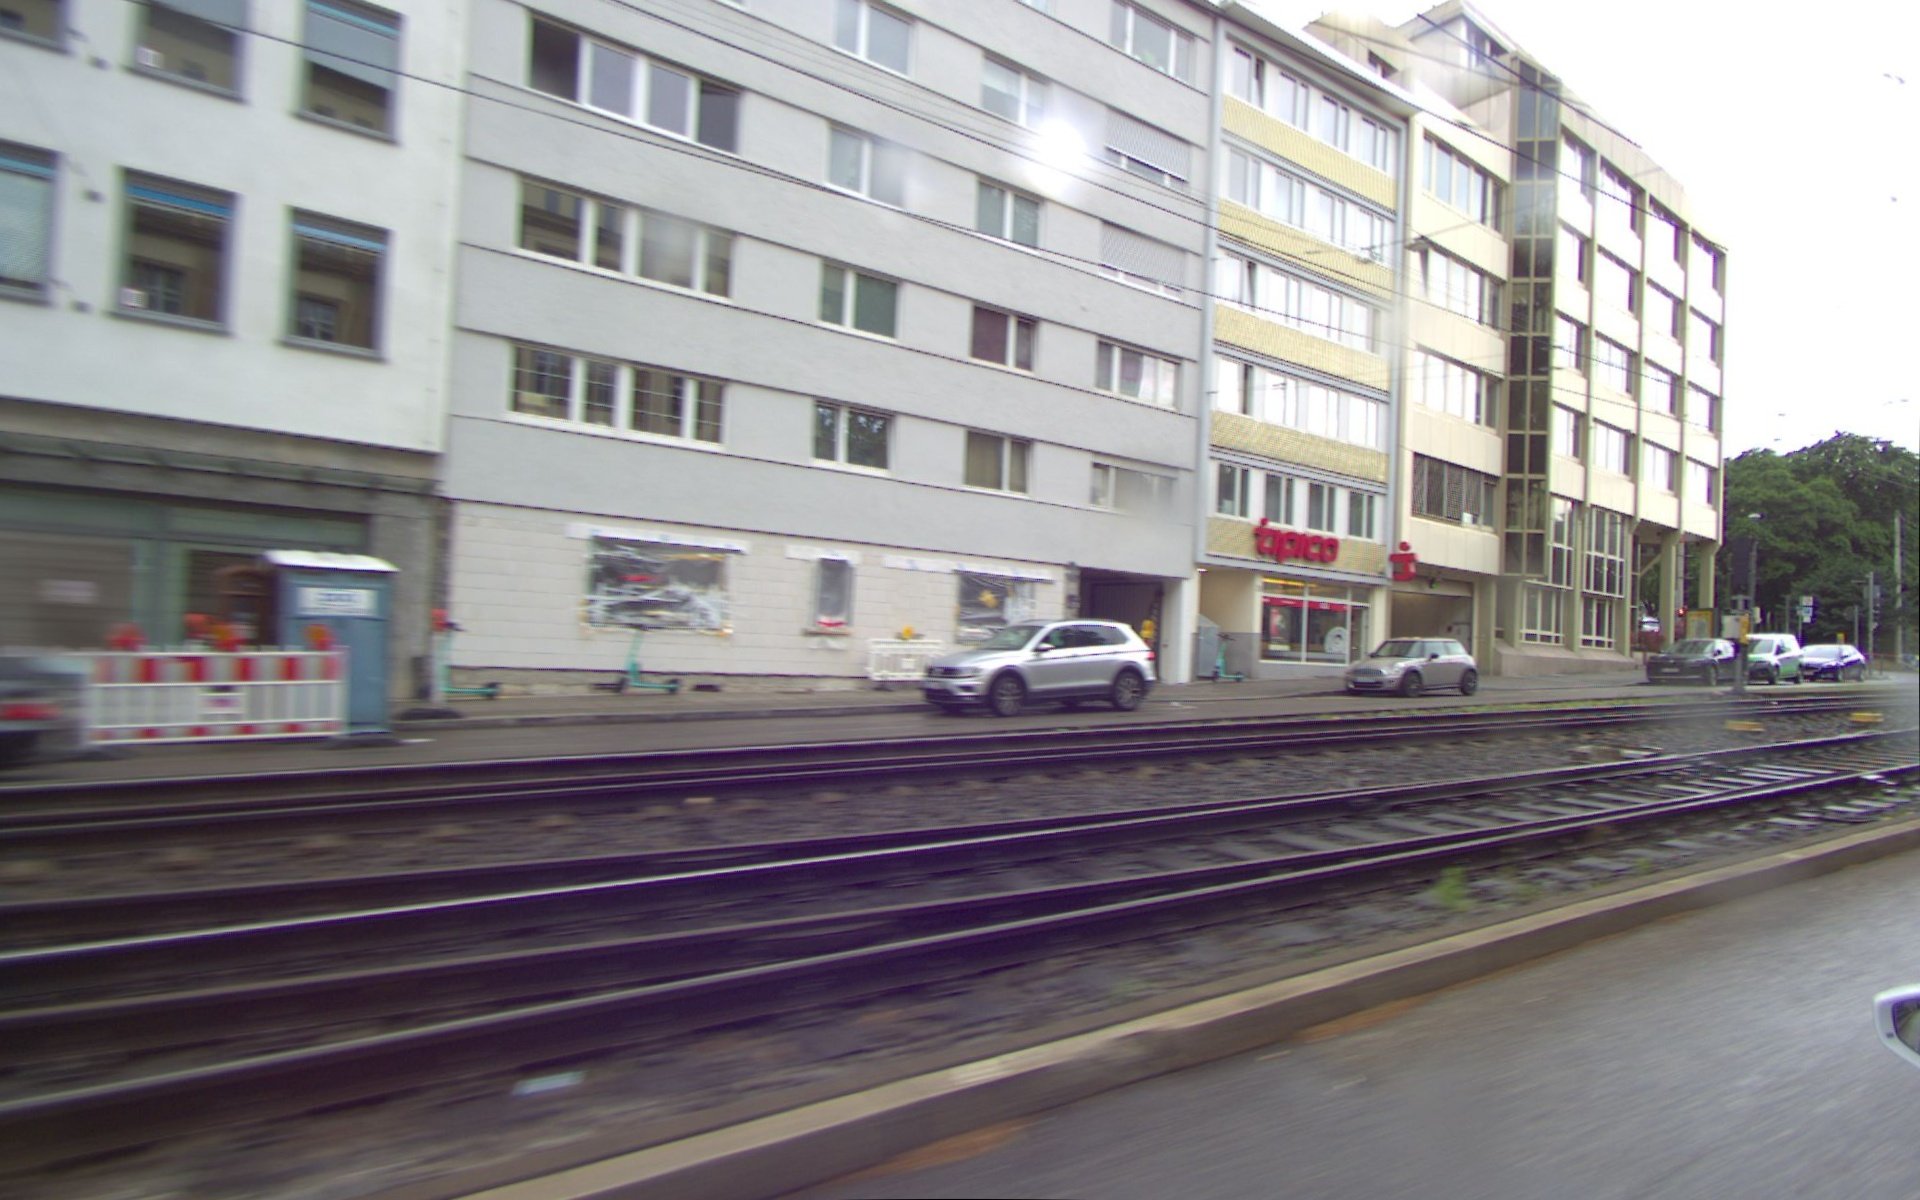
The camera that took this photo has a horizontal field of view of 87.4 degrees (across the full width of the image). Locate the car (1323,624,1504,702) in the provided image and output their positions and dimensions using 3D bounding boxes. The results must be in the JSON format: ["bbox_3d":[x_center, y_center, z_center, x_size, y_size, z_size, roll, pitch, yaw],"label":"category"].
[{"bbox_3d":[11.261,1.565,24.831,4.650,1.696,1.980,4,-1,-36],"label":"car"}]

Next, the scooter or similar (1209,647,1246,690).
[{"bbox_3d":[6.839,1.743,25.696,0.964,1.046,0.378,-1,2,-34],"label":"scooter or similar"}]

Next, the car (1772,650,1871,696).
[{"bbox_3d":[34.579,2.932,40.273,4.505,1.603,1.980,4,-1,-36],"label":"car"}]

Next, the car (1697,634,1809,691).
[{"bbox_3d":[29.136,2.298,36.856,4.650,1.874,1.980,4,-1,-36],"label":"car"}]

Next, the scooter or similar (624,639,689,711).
[{"bbox_3d":[-5.314,1.313,17.573,0.964,1.218,0.378,3,-1,-34],"label":"scooter or similar"}]

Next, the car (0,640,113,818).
[{"bbox_3d":[-9.151,0.881,7.069,4.650,1.271,1.980,4,-4,-36],"label":"car"}]

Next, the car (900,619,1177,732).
[{"bbox_3d":[1.455,1.252,17.876,4.645,1.696,1.982,1,0,-33],"label":"car"}]

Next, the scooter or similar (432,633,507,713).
[{"bbox_3d":[-7.766,1.151,15.920,0.964,1.218,0.378,3,-1,-34],"label":"scooter or similar"}]

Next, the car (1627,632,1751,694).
[{"bbox_3d":[24.539,2.137,33.764,4.650,1.874,1.980,4,-1,-36],"label":"car"}]
